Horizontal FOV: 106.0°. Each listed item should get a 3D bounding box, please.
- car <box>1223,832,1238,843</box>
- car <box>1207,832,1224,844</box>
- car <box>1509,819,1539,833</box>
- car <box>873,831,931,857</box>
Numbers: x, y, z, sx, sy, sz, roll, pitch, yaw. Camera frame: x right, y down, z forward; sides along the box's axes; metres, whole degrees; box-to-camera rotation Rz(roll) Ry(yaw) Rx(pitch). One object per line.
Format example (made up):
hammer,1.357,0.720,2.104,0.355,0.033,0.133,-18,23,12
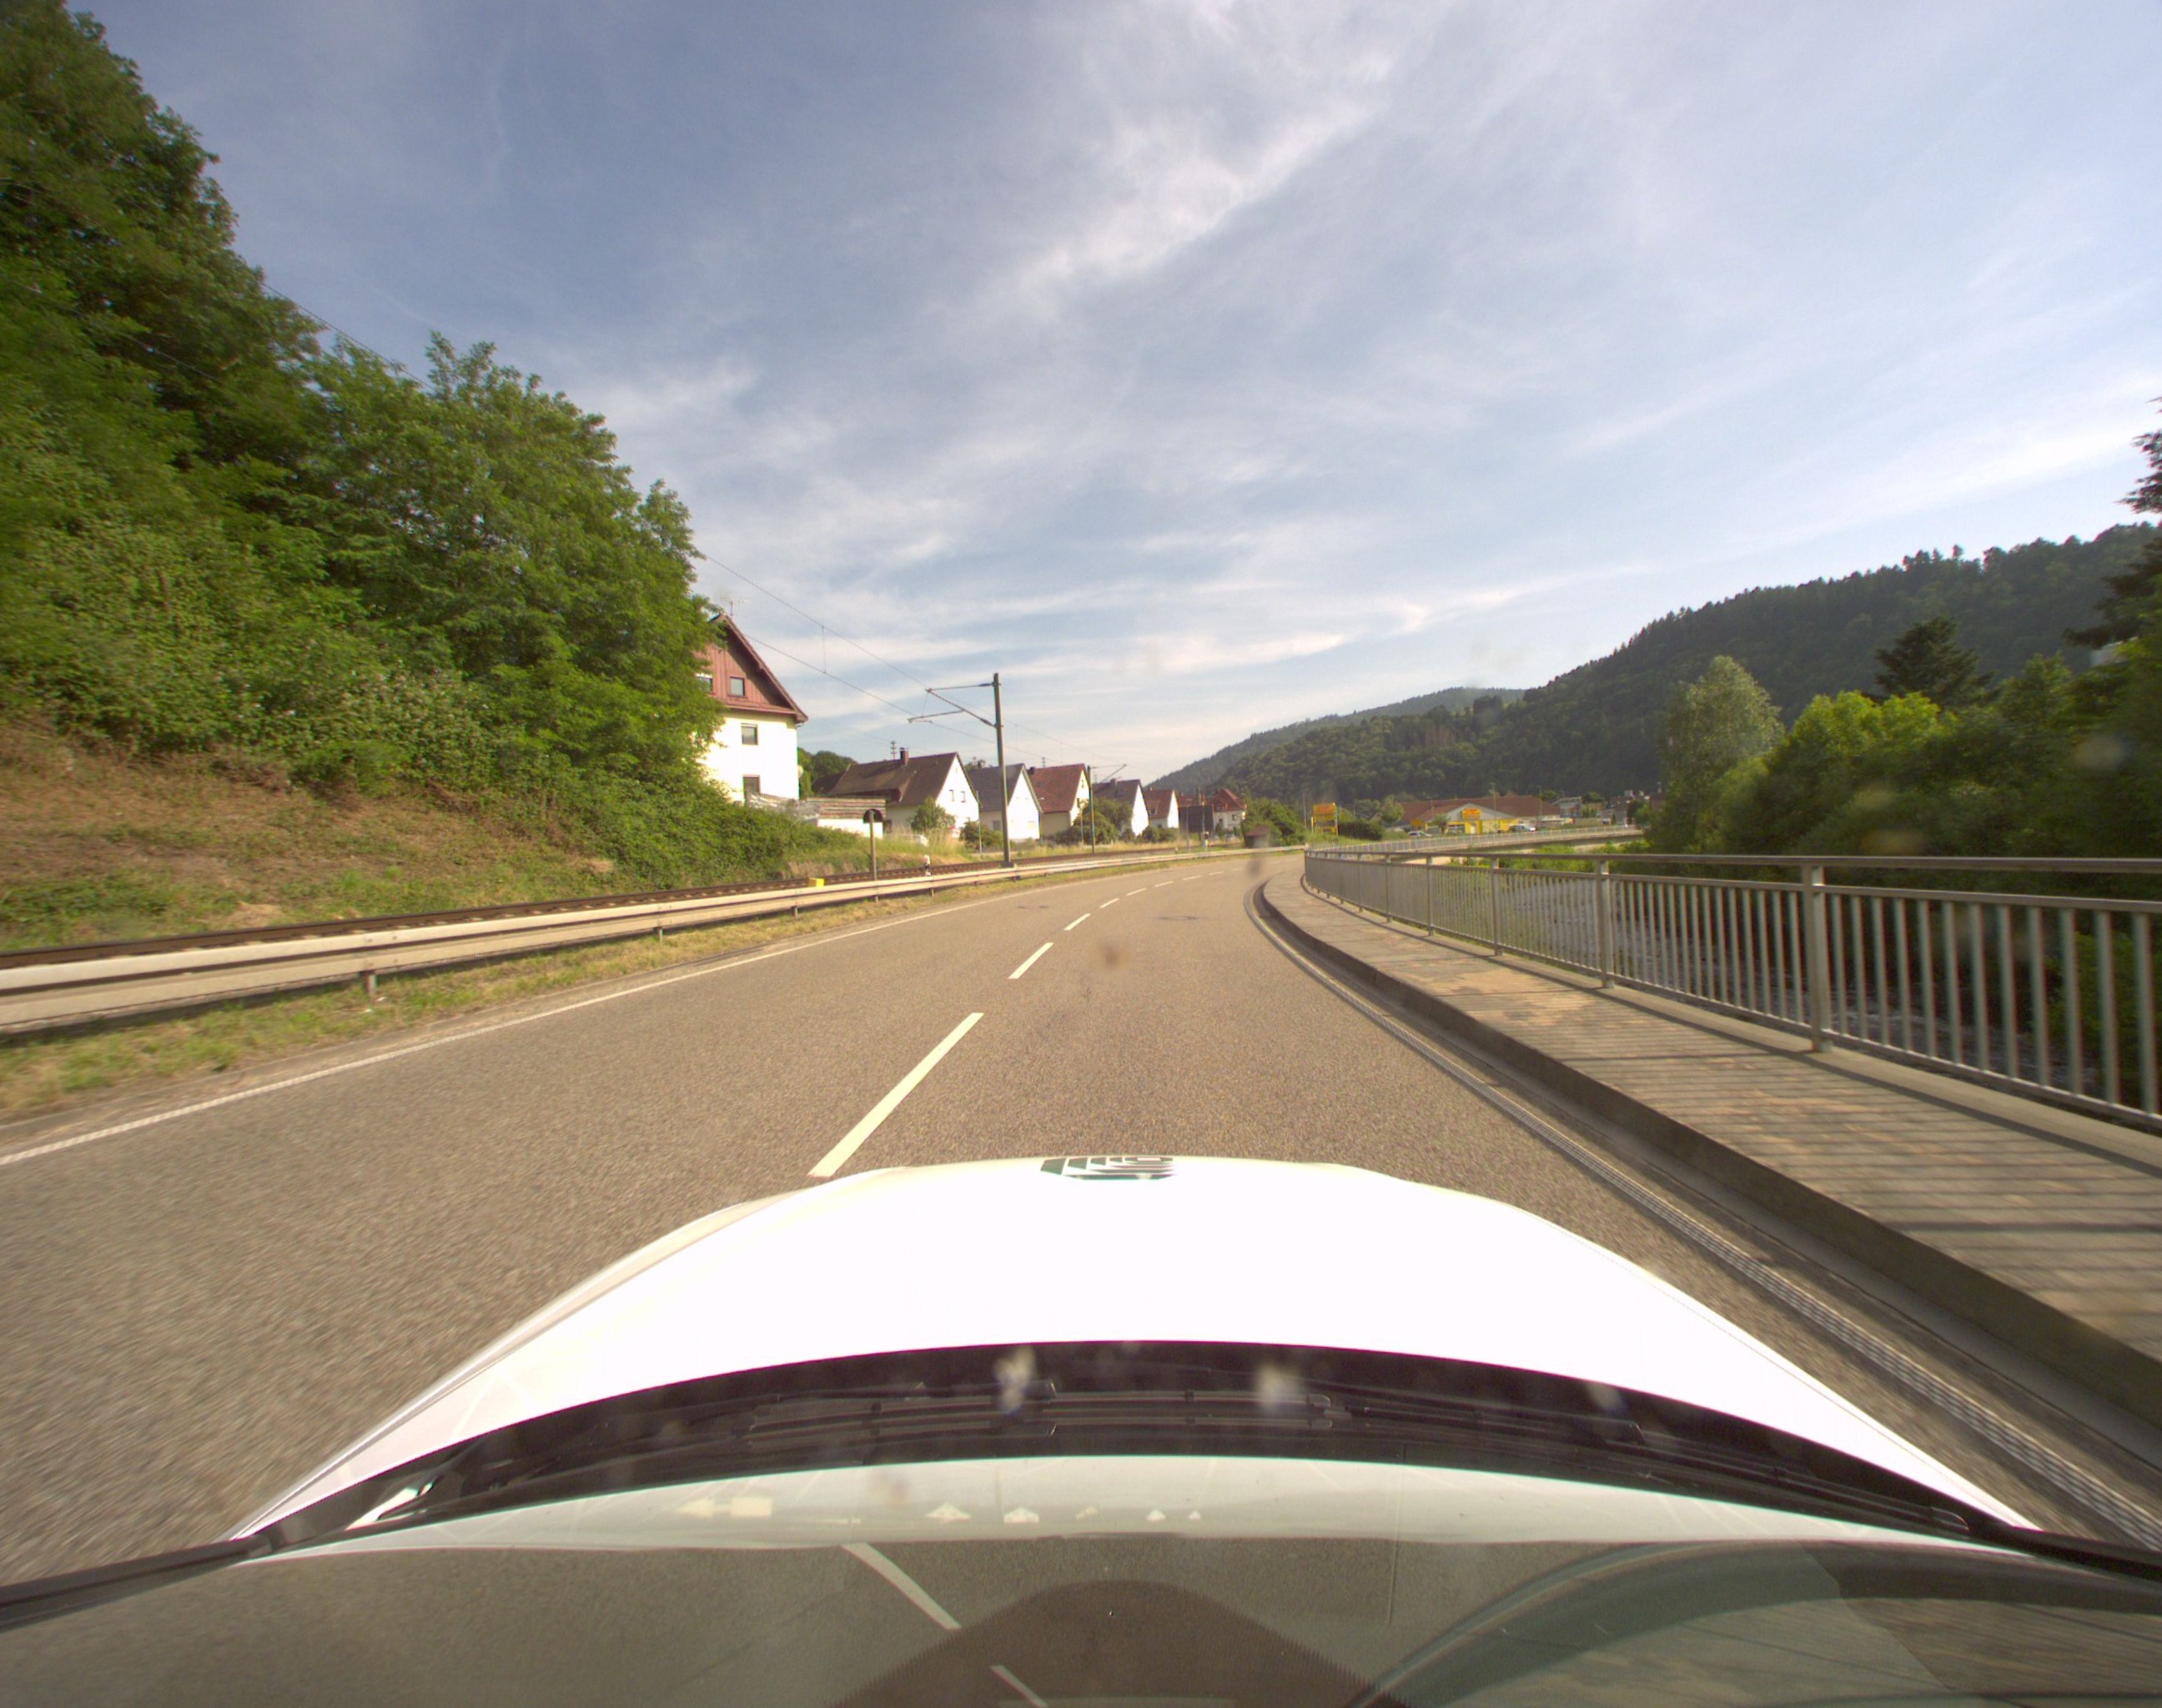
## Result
car,27.592,-2.988,149.892,1.977,1.881,4.020,5,2,19
car,22.645,-2.671,137.033,1.977,1.881,4.020,5,2,19
car,73.815,-4.674,135.792,2.008,2.014,3.958,3,-2,-34
car,-13.252,-0.761,60.144,4.024,1.674,1.640,-2,4,-18
